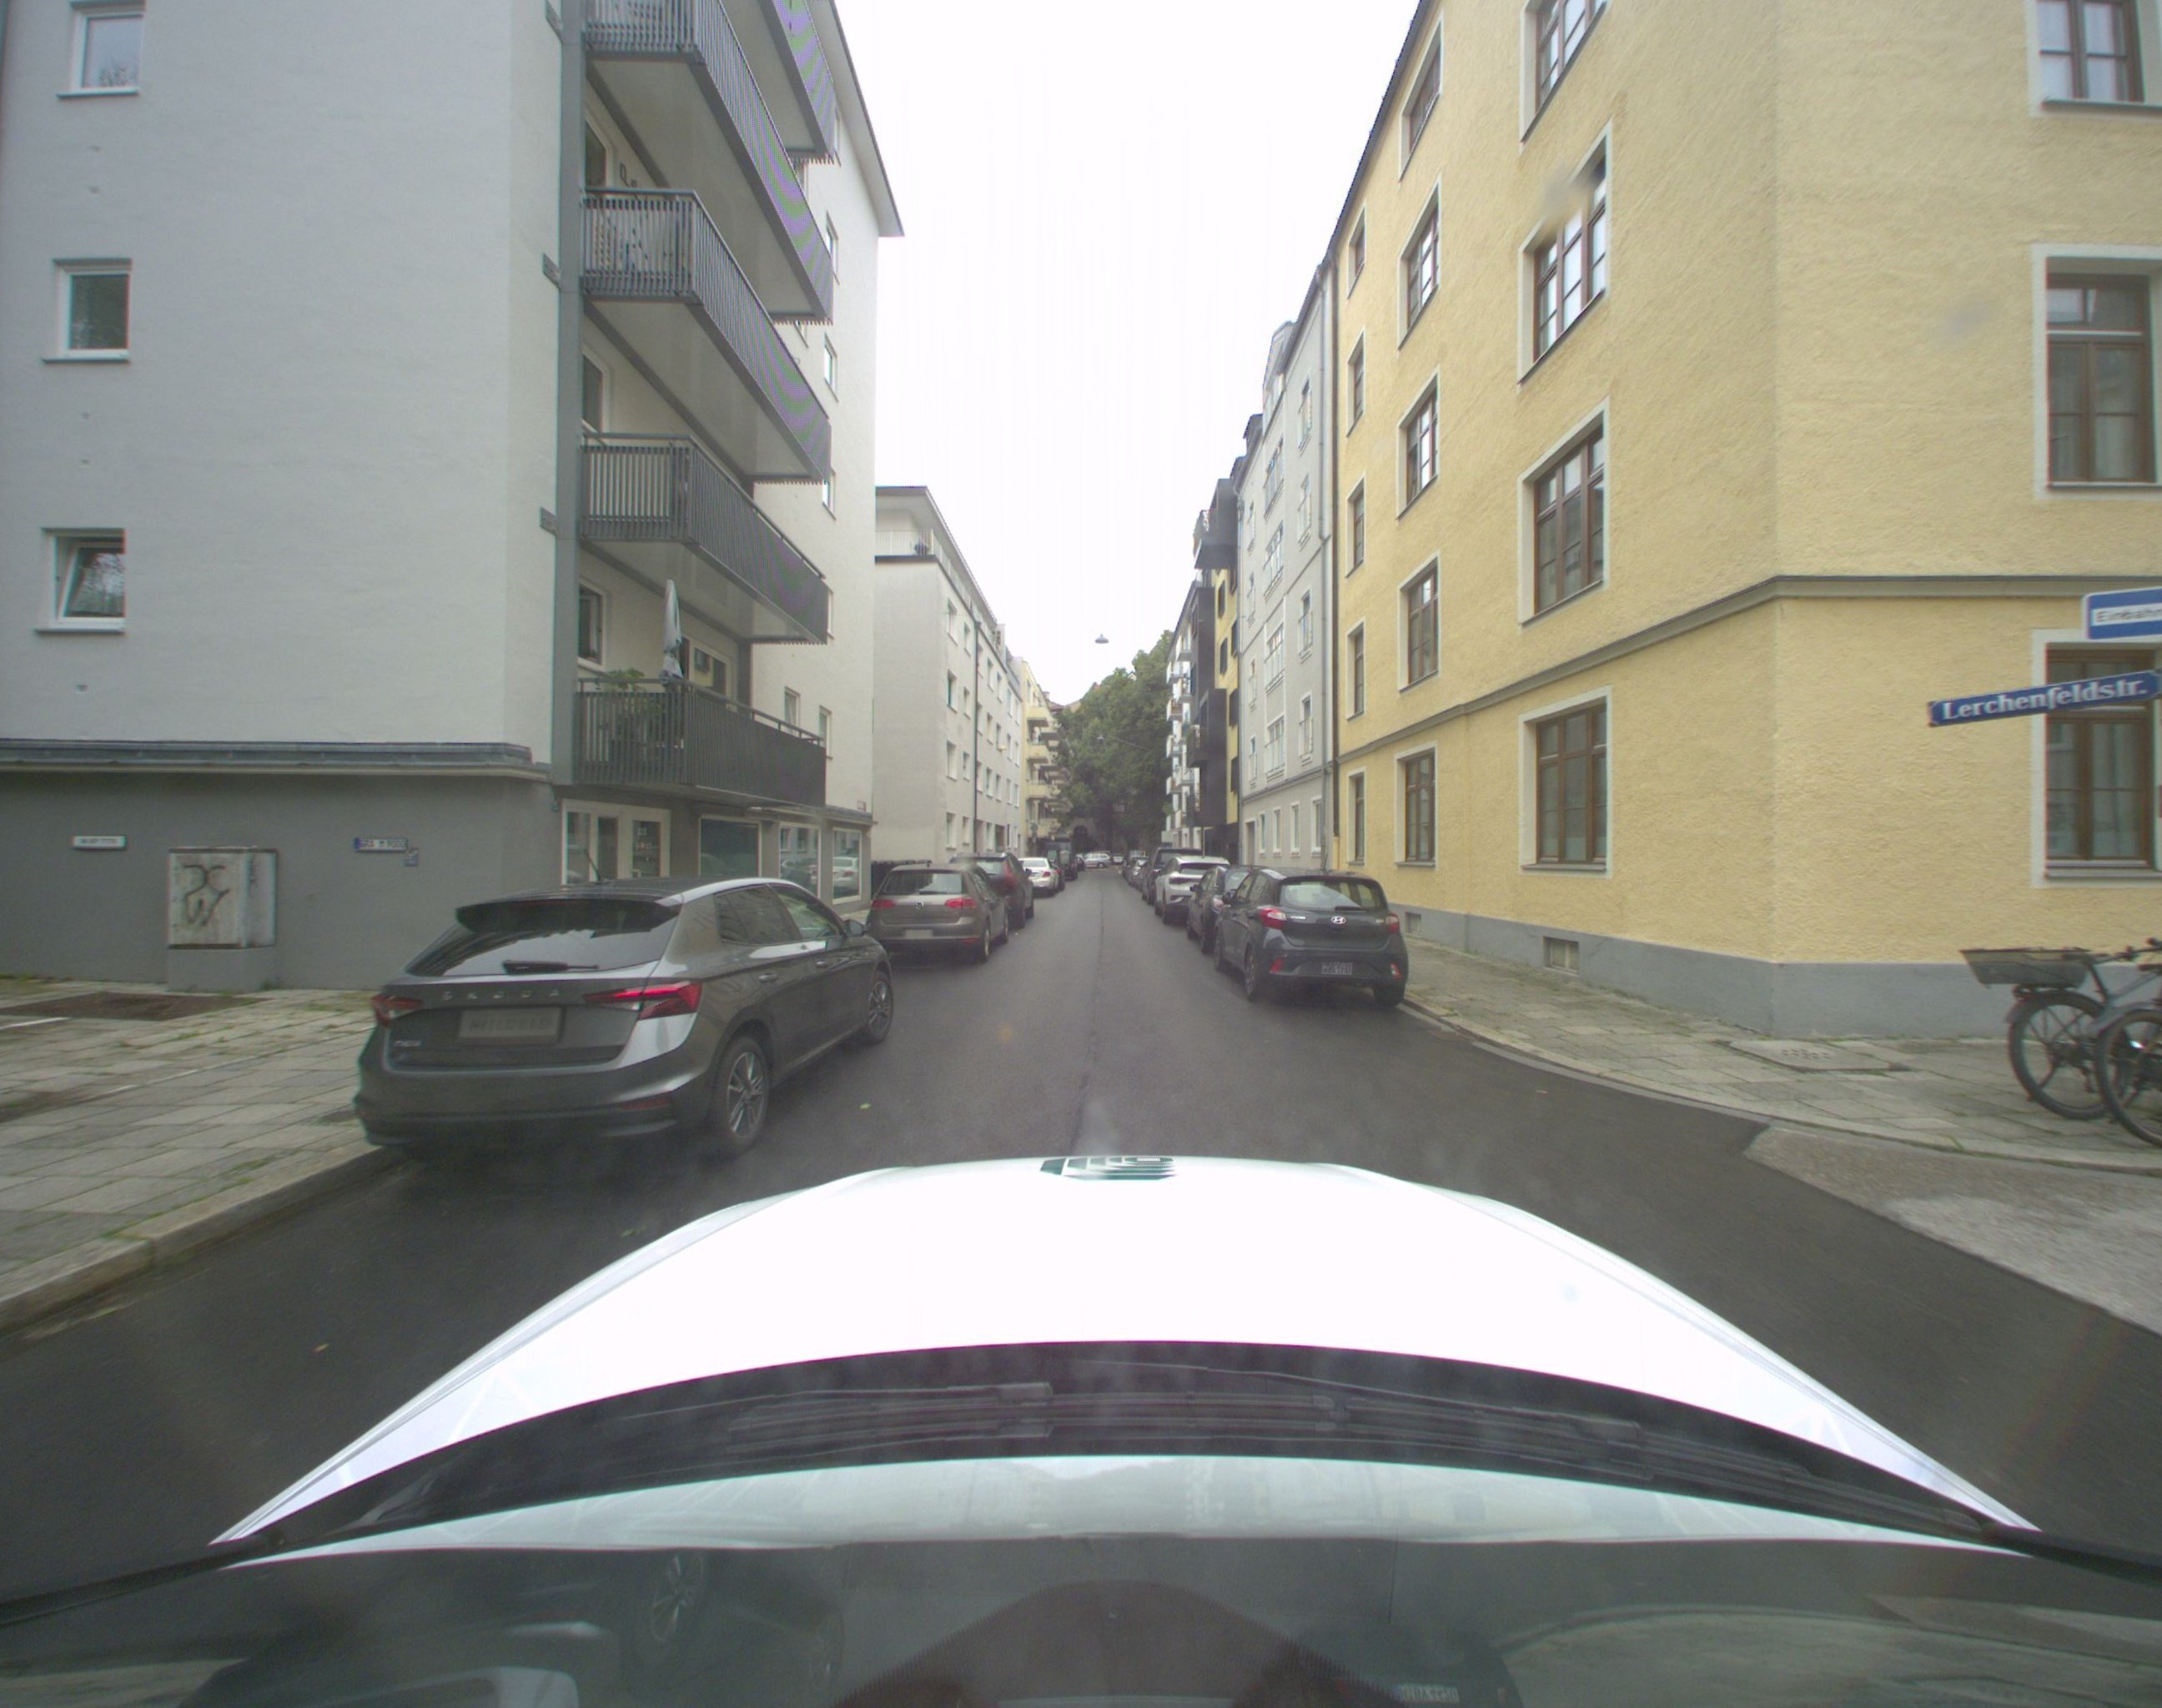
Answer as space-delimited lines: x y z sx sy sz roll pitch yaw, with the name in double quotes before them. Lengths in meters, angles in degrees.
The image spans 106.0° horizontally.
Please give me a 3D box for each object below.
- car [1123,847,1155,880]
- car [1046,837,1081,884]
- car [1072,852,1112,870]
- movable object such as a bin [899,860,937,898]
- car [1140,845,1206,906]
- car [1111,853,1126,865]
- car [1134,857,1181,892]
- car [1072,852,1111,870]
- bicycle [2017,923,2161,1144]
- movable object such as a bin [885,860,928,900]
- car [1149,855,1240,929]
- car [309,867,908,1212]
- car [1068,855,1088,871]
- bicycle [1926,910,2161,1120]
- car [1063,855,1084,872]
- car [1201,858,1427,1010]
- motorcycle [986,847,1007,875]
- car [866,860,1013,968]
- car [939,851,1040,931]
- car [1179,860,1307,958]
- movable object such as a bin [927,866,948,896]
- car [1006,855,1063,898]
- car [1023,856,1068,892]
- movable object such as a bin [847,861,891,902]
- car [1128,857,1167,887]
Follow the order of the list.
"car" 3.867 0.619 54.729 1.823 1.999 4.416 3 0 1
"car" -1.068 0.395 51.900 1.930 2.802 4.533 -2 0 1
"car" 1.073 0.711 80.515 3.873 1.584 1.647 -3 0 0
"movable object such as a bin" -5.893 0.890 29.495 1.043 1.337 0.994 -2 0 4
"car" 3.104 0.682 28.215 1.822 1.910 4.417 2 0 1
"car" 4.496 0.553 97.411 1.636 1.383 3.746 -3 0 1
"car" 3.597 0.926 39.069 1.823 1.454 4.416 3 0 1
"car" 1.067 0.712 82.459 3.873 1.584 1.647 -3 0 0
"bicycle" 6.351 0.982 4.597 1.707 1.139 0.374 -1 1 0
"movable object such as a bin" -6.072 0.896 28.420 1.161 1.337 1.026 -2 0 4
"car" 2.741 0.863 20.520 1.676 1.567 4.416 3 0 1
"car" -2.522 0.857 5.585 1.686 1.442 3.944 -1 0 2
"car" -0.241 0.800 74.487 1.636 1.383 3.483 -3 0 1
"bicycle" 6.457 0.977 5.119 1.803 1.174 0.505 -1 1 -1
"car" -0.613 0.816 70.592 1.636 1.383 3.483 -3 0 1
"car" 2.767 0.852 10.711 1.745 1.469 4.343 3 0 1
"motorcycle" -4.352 0.349 42.070 0.677 1.350 2.487 1 0 3
"car" -2.137 0.853 13.308 1.687 1.442 3.977 -1 0 0
"car" -2.015 0.769 19.079 1.770 1.629 4.415 -1 0 1
"car" 2.819 0.893 14.943 1.657 1.469 3.820 3 0 2
"movable object such as a bin" -4.980 0.936 28.333 0.649 1.020 0.584 2 0 -5
"car" -1.772 0.832 32.166 1.770 1.487 4.521 -3 0 2
"car" -1.561 0.865 37.315 1.770 1.453 4.046 -3 0 1
"movable object such as a bin" -7.324 0.945 28.207 1.152 1.337 0.994 -2 0 4
"car" 3.623 0.937 44.935 1.823 1.454 4.416 3 0 1
